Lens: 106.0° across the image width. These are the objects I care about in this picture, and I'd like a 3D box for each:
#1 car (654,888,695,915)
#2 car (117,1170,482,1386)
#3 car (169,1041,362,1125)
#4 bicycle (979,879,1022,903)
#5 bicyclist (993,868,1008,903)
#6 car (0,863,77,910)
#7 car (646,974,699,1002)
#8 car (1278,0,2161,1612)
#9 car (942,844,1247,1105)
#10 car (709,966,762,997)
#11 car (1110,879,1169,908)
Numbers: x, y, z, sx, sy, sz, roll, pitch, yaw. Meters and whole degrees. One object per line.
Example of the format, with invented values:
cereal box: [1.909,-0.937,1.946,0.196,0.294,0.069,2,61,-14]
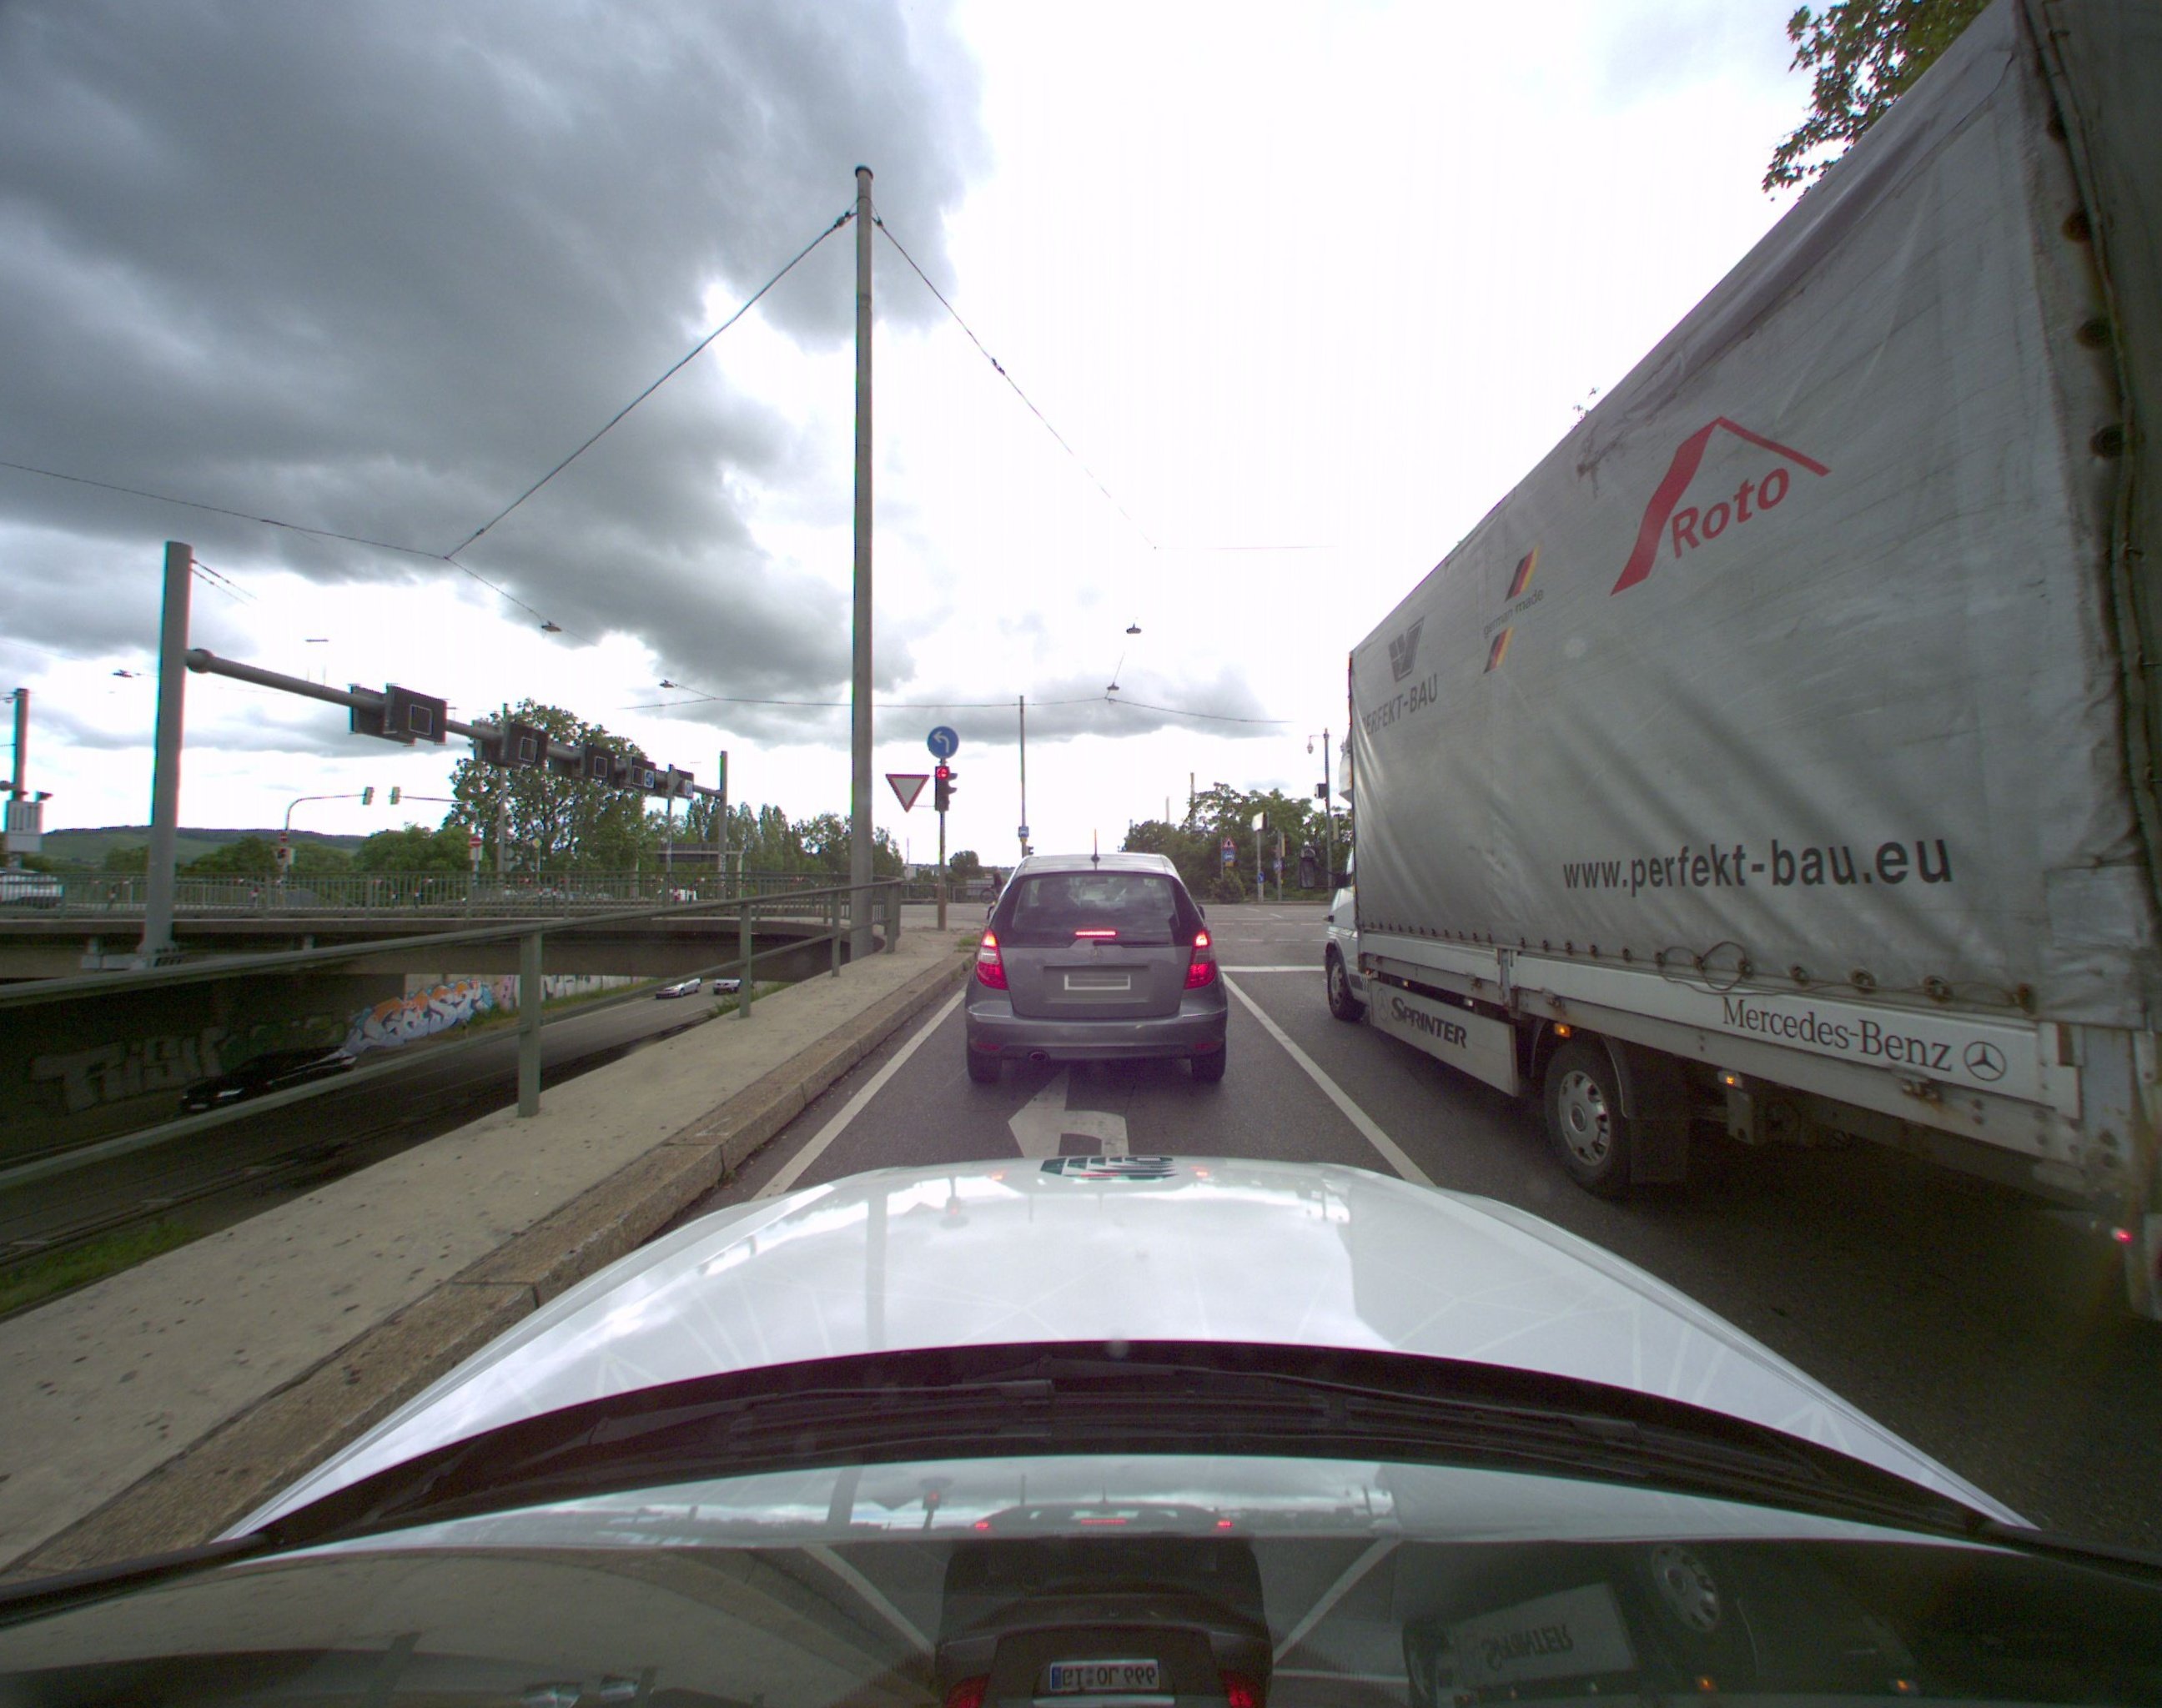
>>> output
car: [-36.334,4.215,72.880,1.850,2.215,3.660,-1,0,-3]
car: [-12.255,6.627,13.292,1.911,1.419,4.270,-1,-3,-4]
car: [-28.245,7.899,28.478,1.986,1.751,4.591,-1,-2,2]
bicycle: [-3.985,1.827,40.283,2.032,1.124,0.926,-1,0,-10]
bicyclist: [-3.979,1.541,40.298,0.653,1.673,0.867,-1,0,-9]
car: [-42.375,1.267,31.552,4.378,1.717,1.937,-1,0,-1]
car: [-28.634,9.379,57.232,1.676,1.457,3.922,-1,-2,2]
car: [3.314,-0.213,5.090,2.648,3.329,7.094,-1,-1,2]
car: [0.217,0.731,7.011,1.849,1.588,4.005,-1,1,4]
car: [-24.934,9.186,58.897,1.879,1.616,4.307,-1,-2,2]
car: [4.215,2.845,59.612,2.008,1.771,5.197,-1,0,-25]
